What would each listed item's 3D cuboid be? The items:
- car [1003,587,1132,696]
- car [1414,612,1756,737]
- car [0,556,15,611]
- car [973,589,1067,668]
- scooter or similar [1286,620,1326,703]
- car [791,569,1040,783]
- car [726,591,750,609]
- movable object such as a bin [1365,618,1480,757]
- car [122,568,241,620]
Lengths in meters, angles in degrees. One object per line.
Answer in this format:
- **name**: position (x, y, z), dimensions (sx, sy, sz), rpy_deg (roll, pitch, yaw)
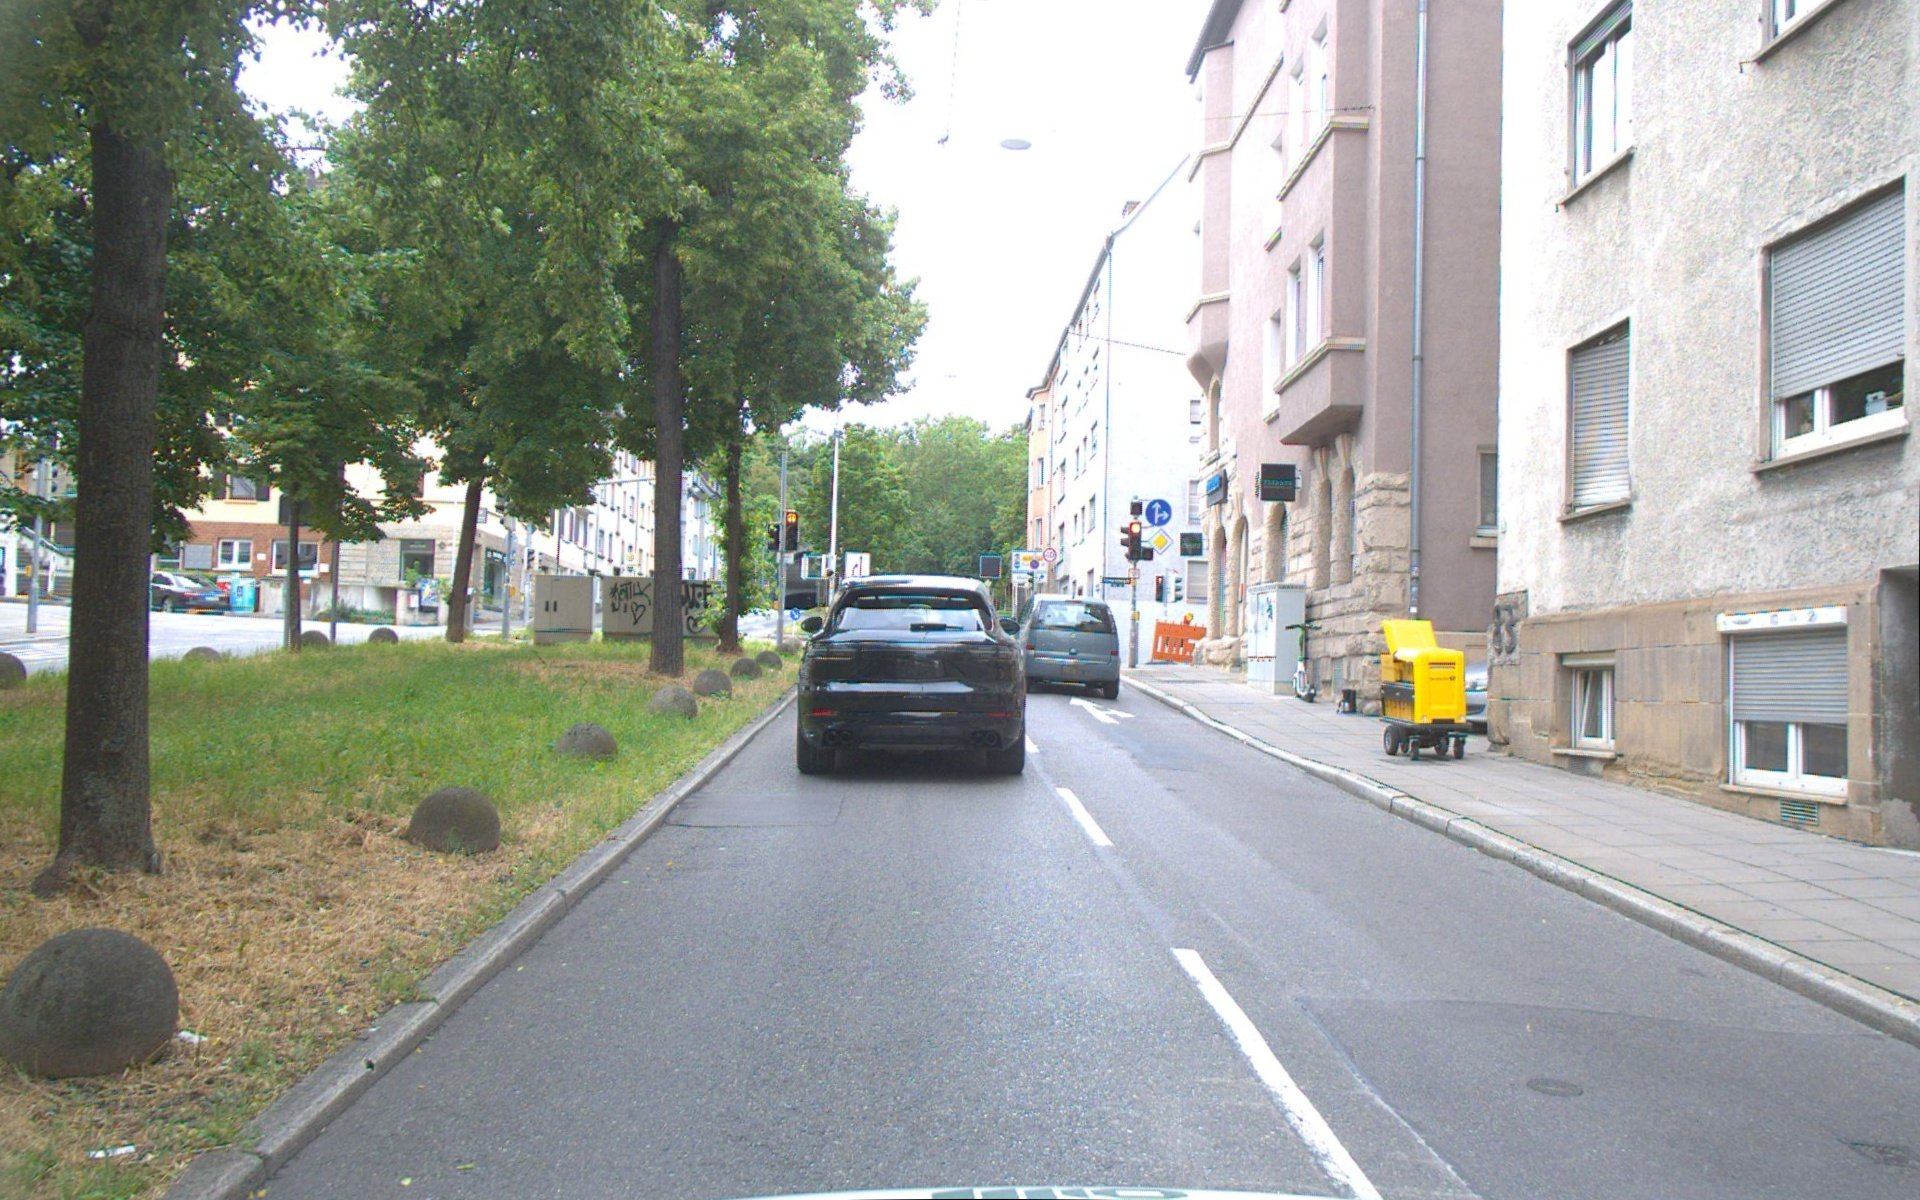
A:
- **car**: position (1.755, 0.648, 27.967), dimensions (1.717, 1.621, 3.629), rpy_deg (3, 0, -2)
- **car**: position (8.349, 0.969, 22.333), dimensions (3.906, 1.427, 1.800), rpy_deg (2, 2, -2)
- **car**: position (-28.980, -0.548, 46.200), dimensions (4.142, 1.536, 1.790), rpy_deg (2, 0, -20)
- **car**: position (1.327, 0.636, 37.982), dimensions (1.954, 1.682, 3.999), rpy_deg (1, -1, -1)
- **scooter or similar**: position (5.366, 0.936, 25.678), dimensions (0.392, 1.209, 1.355), rpy_deg (0, 1, 2)
- **car**: position (-0.376, 0.582, 15.140), dimensions (1.954, 1.681, 3.999), rpy_deg (1, 1, -1)
- **car**: position (-19.420, -0.001, 144.814), dimensions (1.758, 1.536, 3.998), rpy_deg (2, 0, -3)
- **movable object such as a bin**: position (5.050, 0.928, 18.166), dimensions (0.705, 1.446, 1.692), rpy_deg (1, -1, -4)
- **car**: position (-26.809, -0.189, 56.935), dimensions (3.915, 1.694, 1.877), rpy_deg (0, -2, 32)
